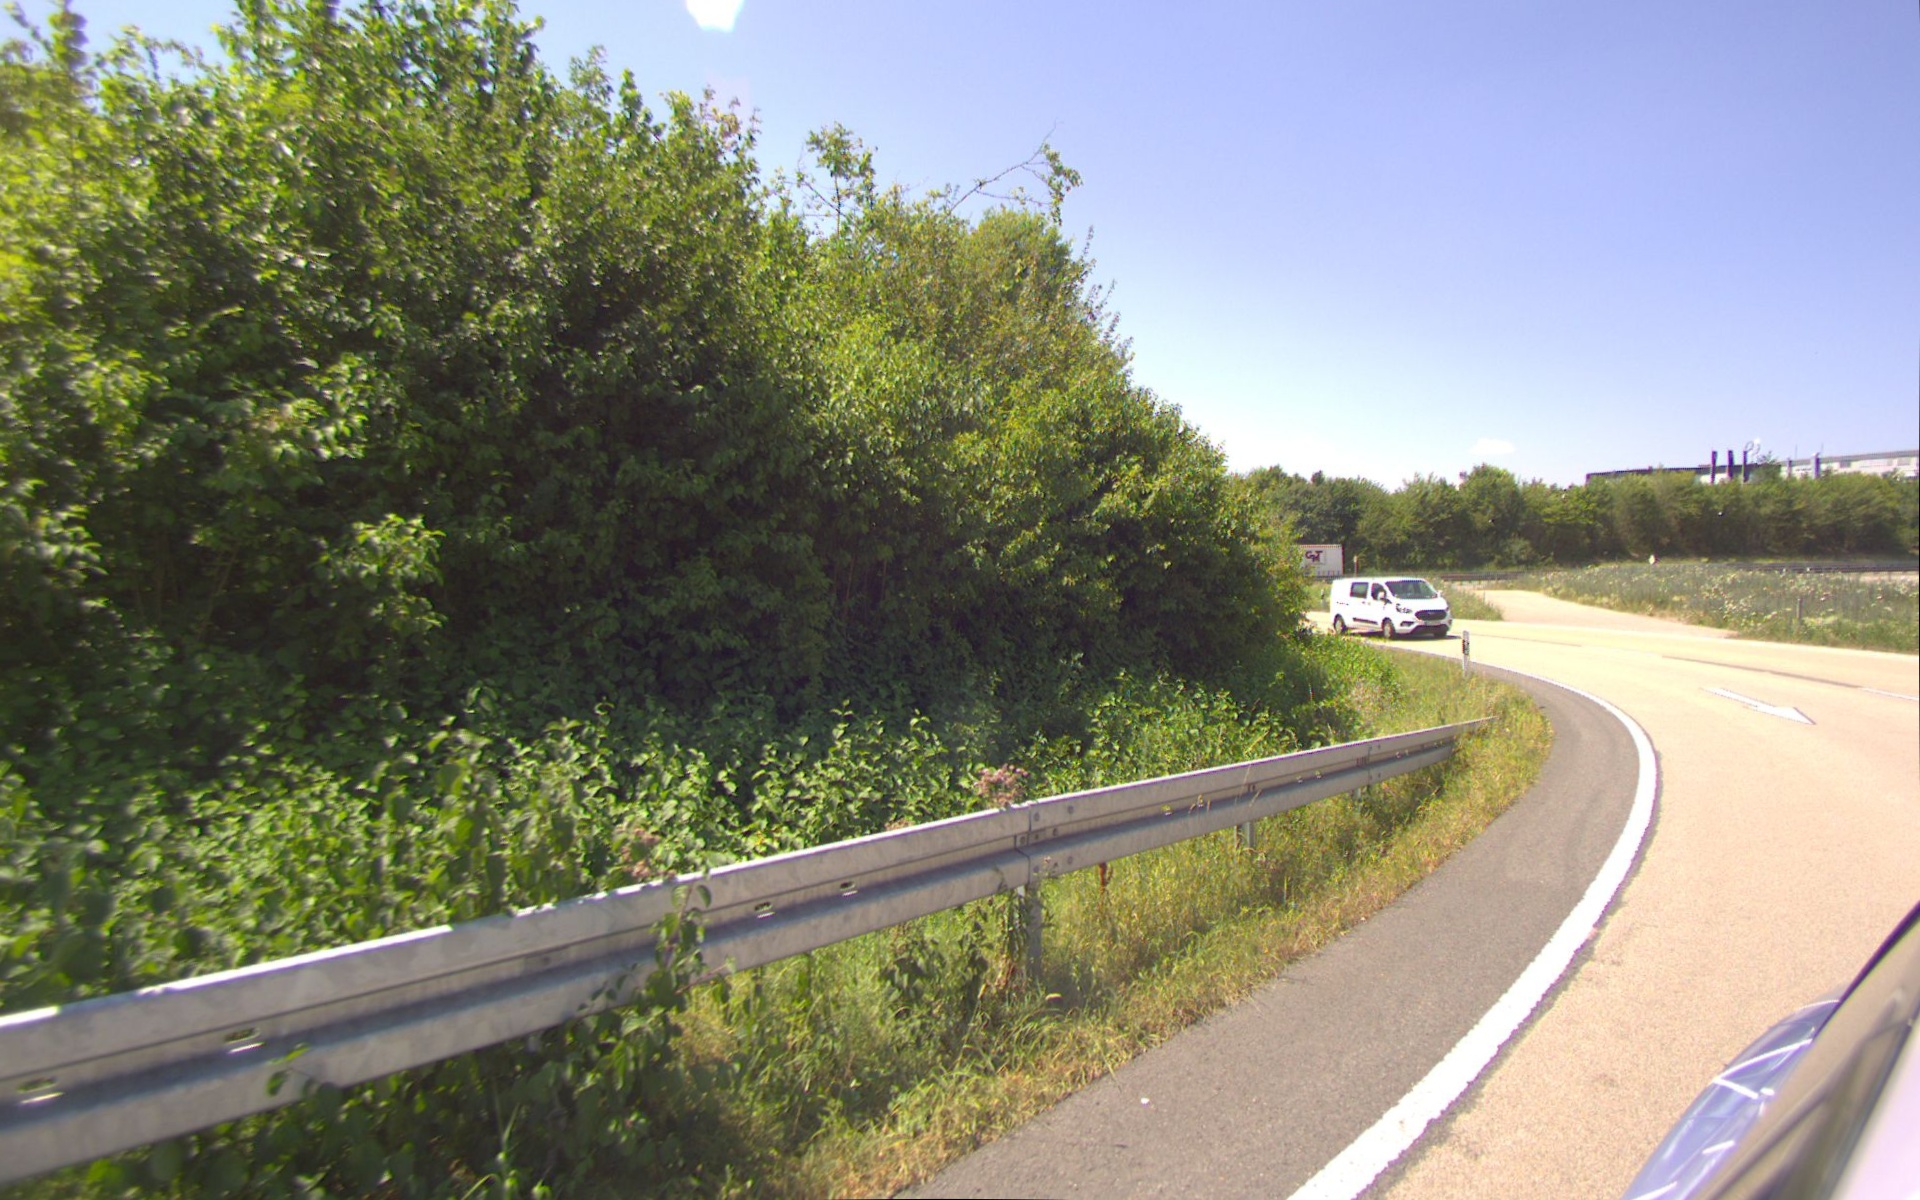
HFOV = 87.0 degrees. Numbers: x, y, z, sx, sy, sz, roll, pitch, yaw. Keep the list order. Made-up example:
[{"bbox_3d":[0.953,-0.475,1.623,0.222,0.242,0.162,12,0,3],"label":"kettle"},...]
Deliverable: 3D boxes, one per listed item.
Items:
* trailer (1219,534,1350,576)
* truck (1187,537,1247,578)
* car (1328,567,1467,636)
[{"bbox_3d":[34.193,-4.692,106.853,13.011,3.988,2.925,-2,1,-5],"label":"trailer"},{"bbox_3d":[26.939,-4.445,106.206,5.310,3.988,2.925,-2,1,-5],"label":"truck"},{"bbox_3d":[14.618,0.004,34.174,2.022,2.038,5.047,-3,1,-6],"label":"car"}]
